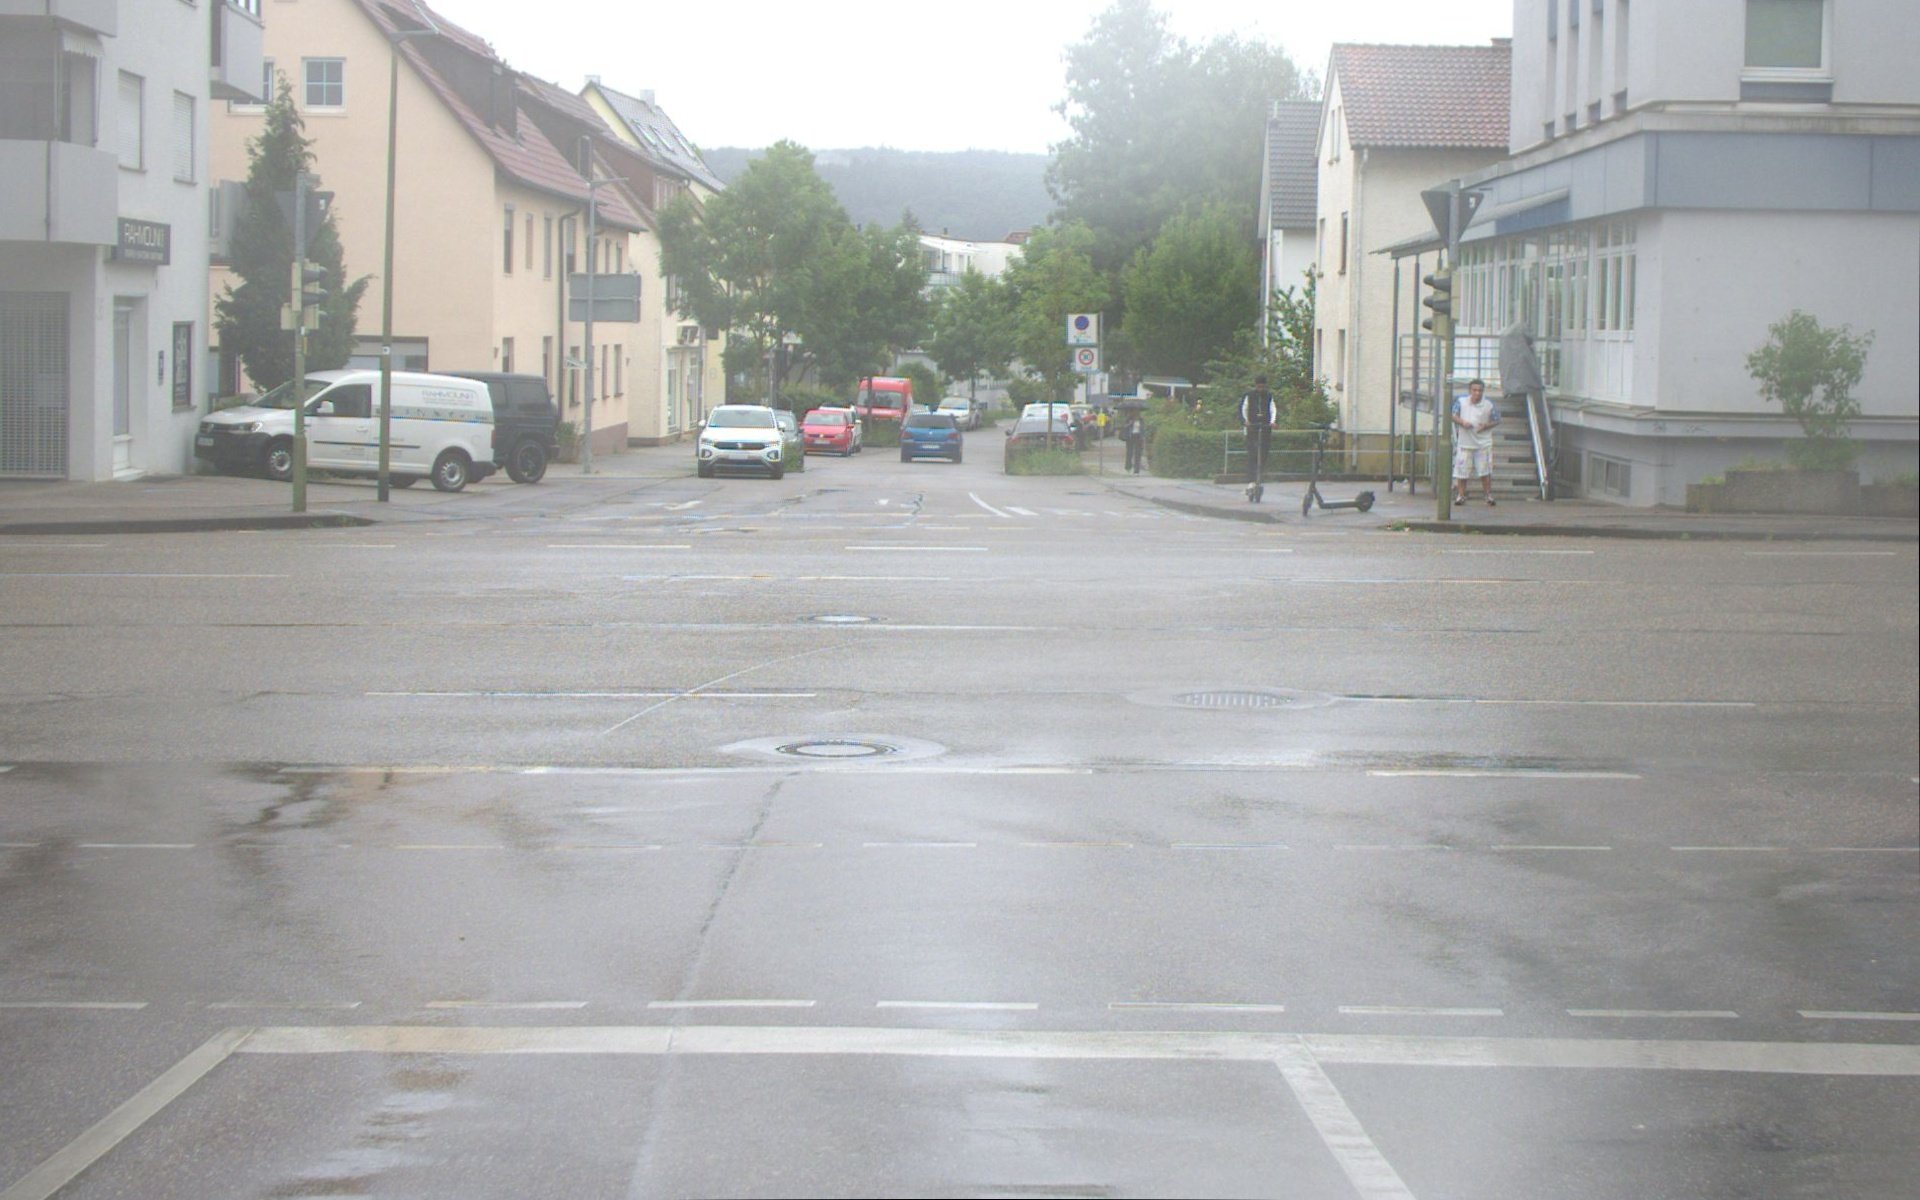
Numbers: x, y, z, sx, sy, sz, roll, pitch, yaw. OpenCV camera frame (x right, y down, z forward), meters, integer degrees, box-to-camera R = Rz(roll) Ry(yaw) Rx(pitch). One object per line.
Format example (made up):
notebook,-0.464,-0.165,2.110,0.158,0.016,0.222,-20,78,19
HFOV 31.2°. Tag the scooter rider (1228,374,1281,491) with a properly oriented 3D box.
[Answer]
scooter rider,4.507,-2.568,52.710,0.752,1.789,0.673,0,3,0

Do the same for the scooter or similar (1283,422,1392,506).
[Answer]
scooter or similar,4.913,-1.777,44.780,1.268,1.077,0.877,0,3,-4

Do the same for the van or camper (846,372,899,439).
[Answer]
van or camper,-3.355,-7.516,133.043,1.901,2.504,4.239,0,3,1

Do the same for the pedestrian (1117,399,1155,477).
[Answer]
pedestrian,4.274,-3.932,83.481,0.745,1.842,0.526,3,2,-6

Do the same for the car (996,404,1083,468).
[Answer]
car,1.991,-4.183,87.522,2.146,1.583,4.128,0,3,1

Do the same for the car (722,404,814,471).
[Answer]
car,-4.750,-4.044,85.524,1.993,1.620,4.192,0,3,1

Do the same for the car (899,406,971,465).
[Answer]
car,-0.758,-4.840,101.013,1.993,1.678,4.001,0,3,-2

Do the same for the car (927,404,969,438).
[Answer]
car,-0.536,-8.364,160.713,1.901,1.553,4.192,0,3,1

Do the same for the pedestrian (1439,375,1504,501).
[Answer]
pedestrian,6.816,-2.160,45.841,0.647,1.641,0.526,3,2,-6

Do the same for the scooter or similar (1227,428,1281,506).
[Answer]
scooter or similar,4.503,-2.044,52.739,0.757,1.167,1.314,0,3,2

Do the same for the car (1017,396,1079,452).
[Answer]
car,2.797,-5.622,109.754,1.901,1.739,4.192,0,3,1

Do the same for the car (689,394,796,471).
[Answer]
car,-4.653,-3.617,74.125,1.993,1.620,4.192,0,3,1

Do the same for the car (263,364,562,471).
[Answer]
car,-9.648,-3.228,60.768,4.830,1.829,2.000,-3,4,-38

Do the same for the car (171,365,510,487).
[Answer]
car,-9.659,-2.733,53.811,4.830,1.829,2.000,-3,4,-38

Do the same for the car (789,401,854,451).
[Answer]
car,-4.431,-5.593,110.545,1.901,1.553,4.192,0,3,1
